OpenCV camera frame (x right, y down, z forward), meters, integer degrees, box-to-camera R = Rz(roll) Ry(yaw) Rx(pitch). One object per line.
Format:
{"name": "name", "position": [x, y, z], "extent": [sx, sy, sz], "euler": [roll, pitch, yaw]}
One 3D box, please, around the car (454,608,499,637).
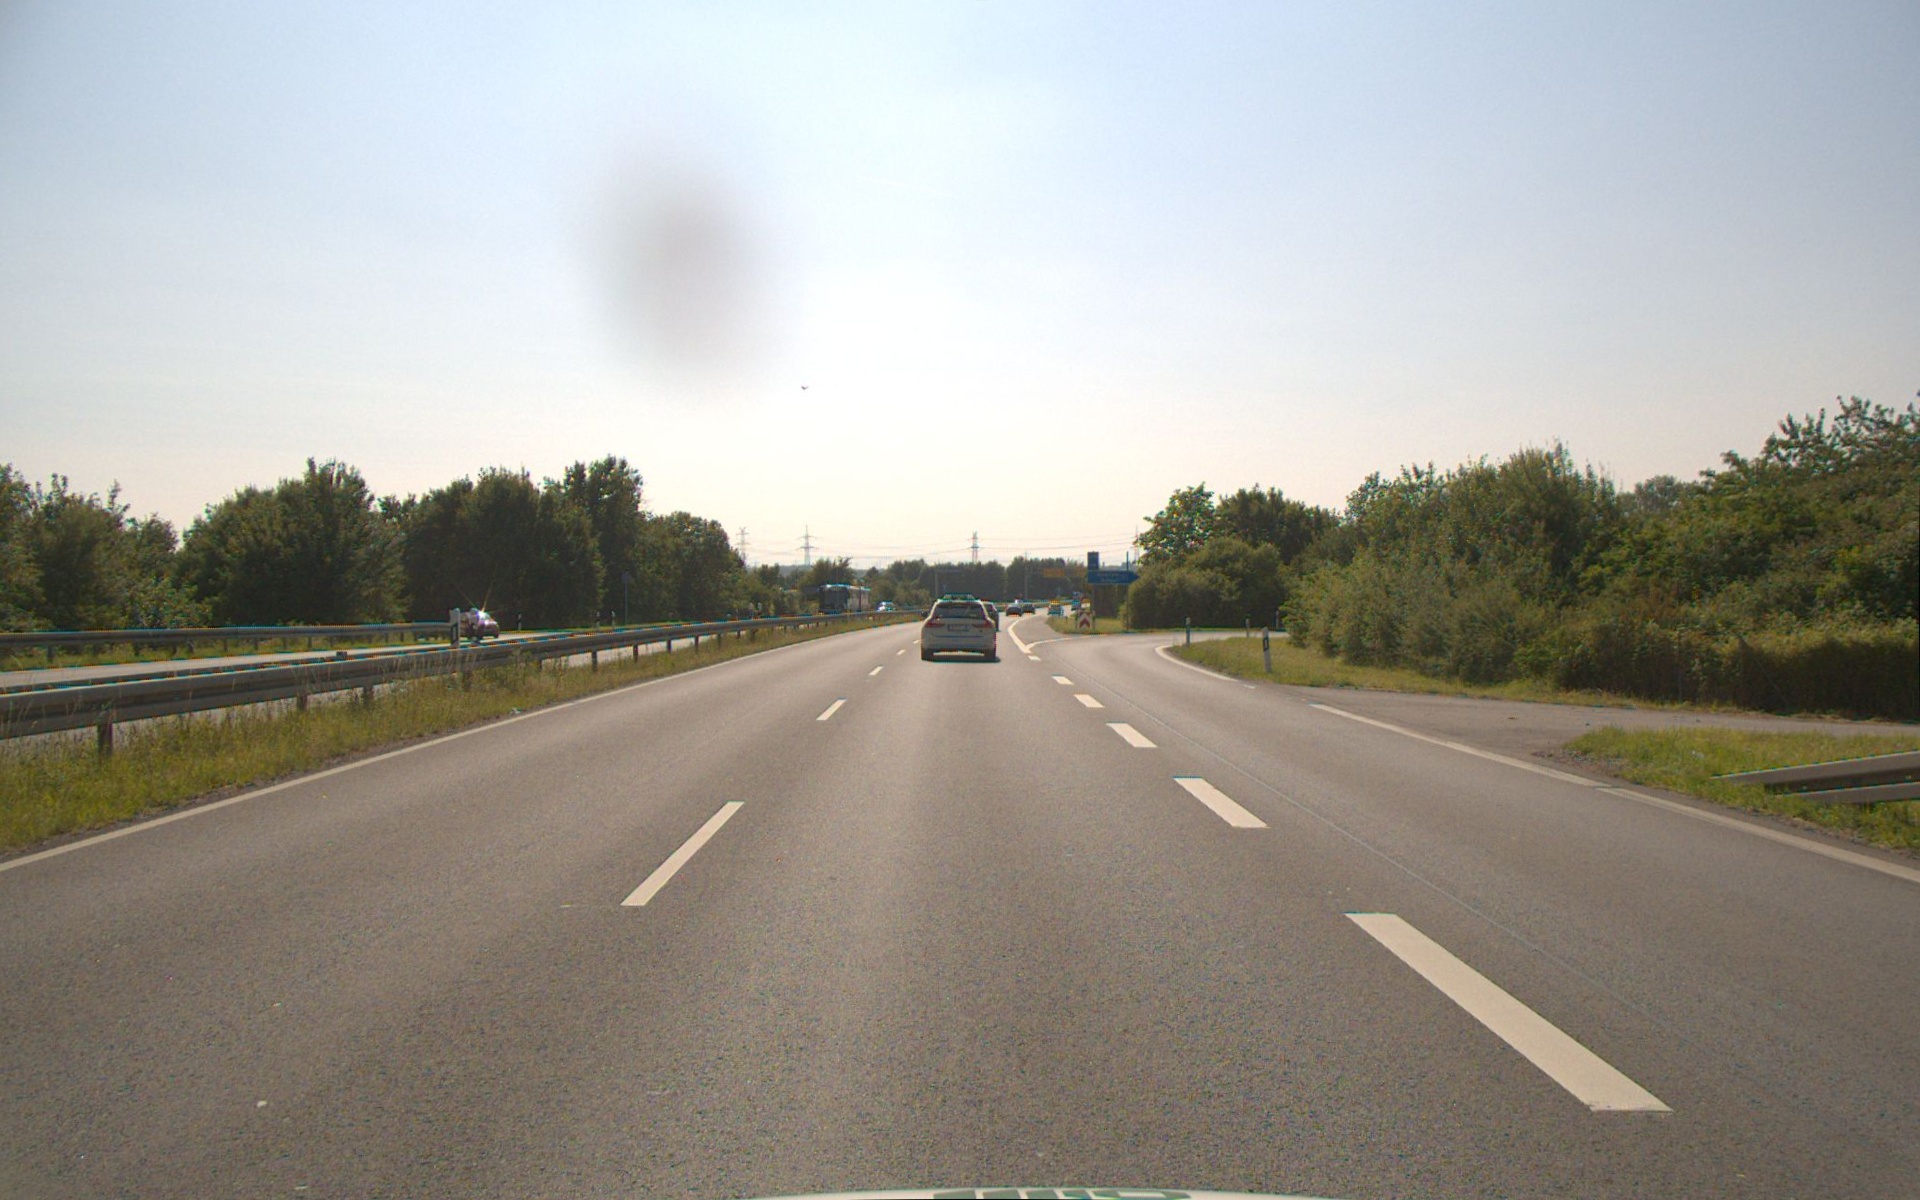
{"name": "car", "position": [-26.481, 1.211, 90.555], "extent": [1.763, 1.471, 3.967], "euler": [-1, 0, -26]}

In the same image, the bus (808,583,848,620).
{"name": "bus", "position": [-11.749, 0.095, 147.741], "extent": [2.669, 3.165, 9.836], "euler": [0, 0, 1]}

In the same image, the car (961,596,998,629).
{"name": "car", "position": [0.937, 0.581, 81.725], "extent": [1.756, 1.570, 3.671], "euler": [1, 0, 0]}

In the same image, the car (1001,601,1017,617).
{"name": "car", "position": [5.736, 1.052, 193.614], "extent": [1.803, 1.834, 4.001], "euler": [1, 0, 3]}

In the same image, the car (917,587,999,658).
{"name": "car", "position": [-0.030, 0.522, 41.301], "extent": [1.918, 1.629, 4.107], "euler": [1, 1, 0]}

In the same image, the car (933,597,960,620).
{"name": "car", "position": [-0.910, 0.598, 115.057], "extent": [1.756, 1.529, 4.043], "euler": [1, 0, 1]}

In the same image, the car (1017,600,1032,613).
{"name": "car", "position": [8.668, 0.909, 222.446], "extent": [1.803, 1.728, 4.000], "euler": [1, 0, 1]}
